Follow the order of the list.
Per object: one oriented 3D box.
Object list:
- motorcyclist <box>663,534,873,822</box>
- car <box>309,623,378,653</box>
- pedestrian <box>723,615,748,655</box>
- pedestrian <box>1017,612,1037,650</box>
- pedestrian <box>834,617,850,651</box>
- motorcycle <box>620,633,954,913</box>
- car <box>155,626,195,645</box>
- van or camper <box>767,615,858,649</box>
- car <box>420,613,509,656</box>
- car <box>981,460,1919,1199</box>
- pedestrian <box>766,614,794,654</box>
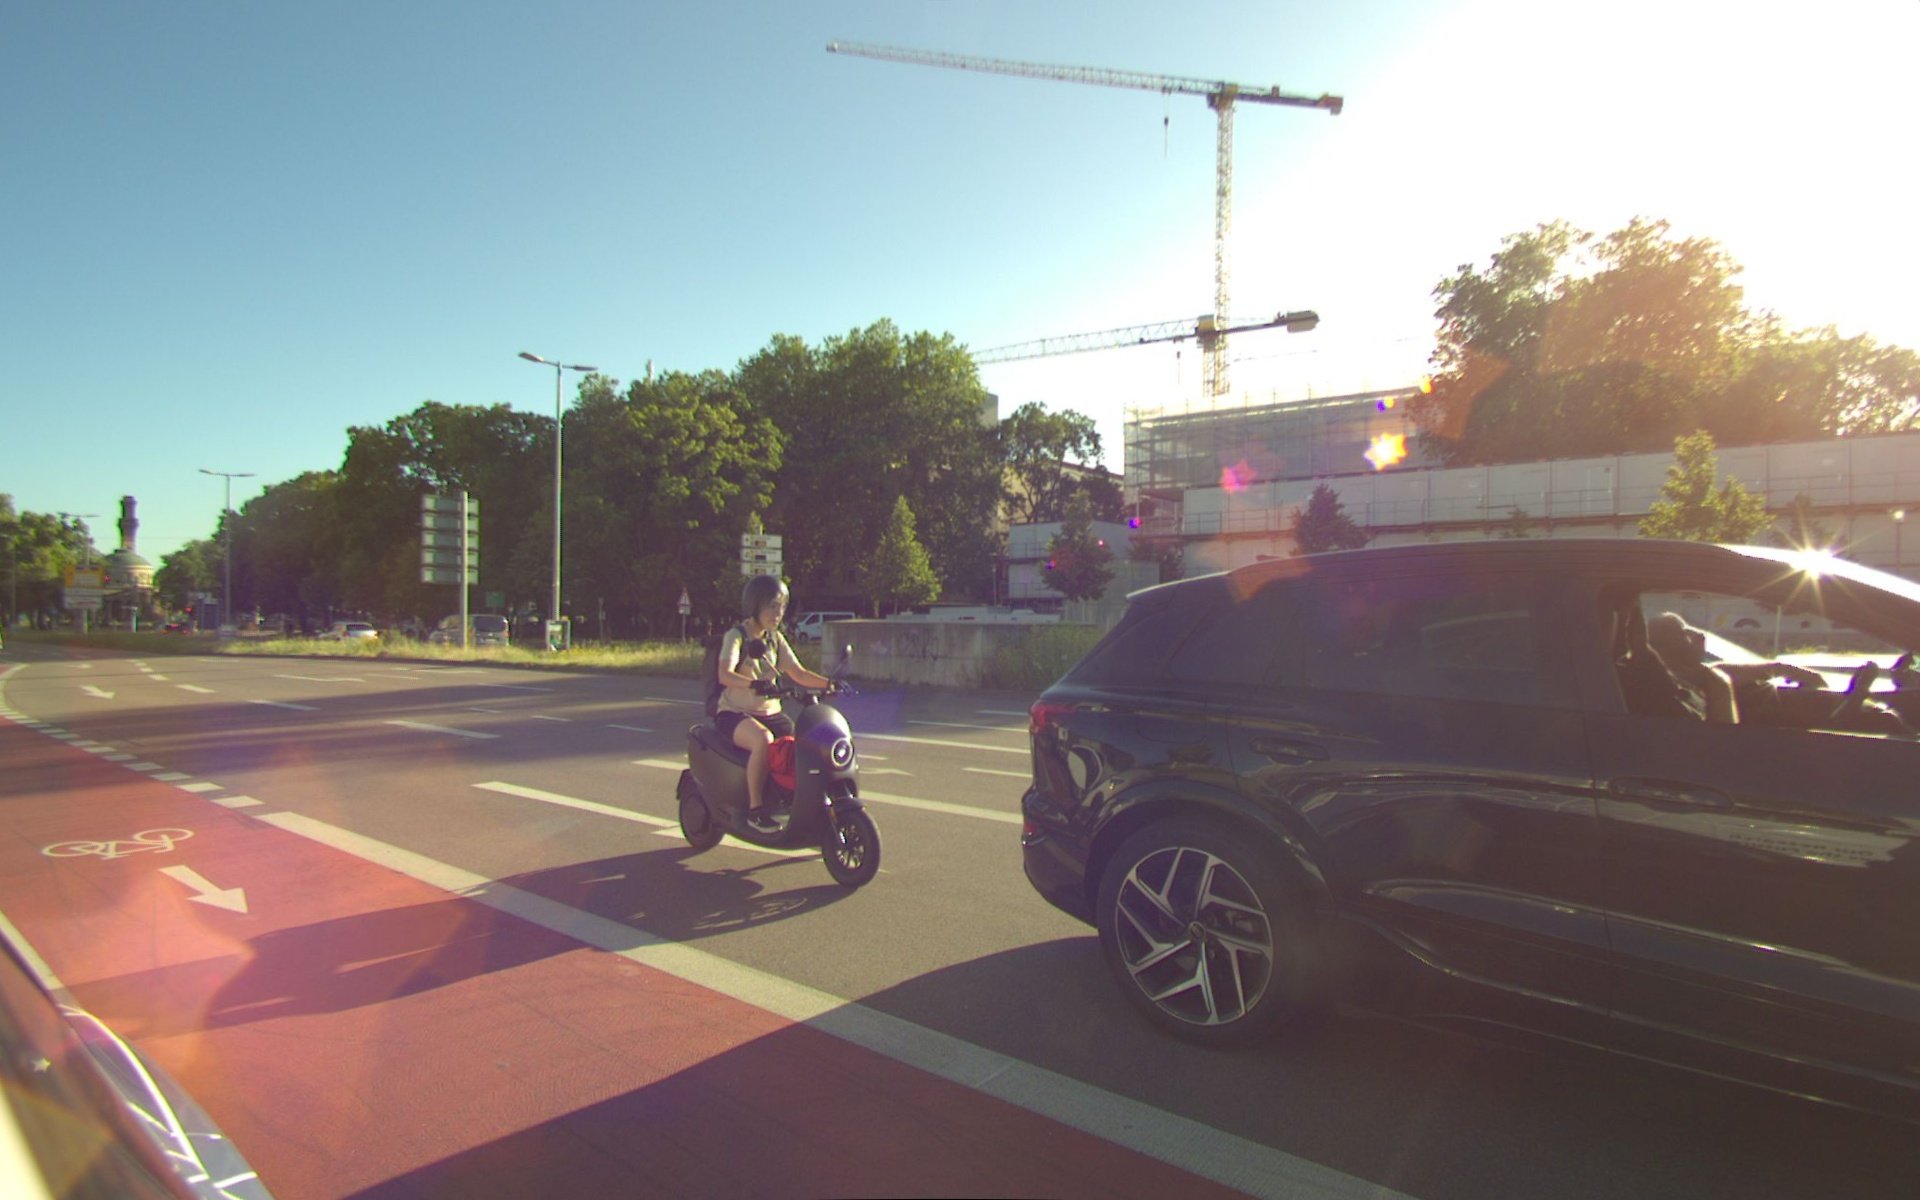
[{"bbox_3d":[-1.095,0.411,5.782,0.877,1.475,0.813,-1,-2,41],"label":"motorcyclist"},{"bbox_3d":[-29.708,1.820,48.737,3.941,1.387,1.705,-1,-2,41],"label":"car"},{"bbox_3d":[-11.434,1.768,51.632,0.942,2.029,0.842,-1,0,-39],"label":"pedestrian"},{"bbox_3d":[2.842,1.306,42.755,0.597,1.614,0.580,-1,0,38],"label":"pedestrian"},{"bbox_3d":[-5.367,1.541,46.042,0.494,1.522,0.492,-1,-2,41],"label":"pedestrian"},{"bbox_3d":[-1.026,0.841,5.703,1.943,1.290,0.817,-1,-2,41],"label":"motorcycle"},{"bbox_3d":[-63.817,2.882,82.234,3.979,1.492,1.857,-1,-2,41],"label":"car"},{"bbox_3d":[-8.965,1.929,61.891,1.951,1.960,5.425,-2,-2,44],"label":"van or camper"},{"bbox_3d":[-23.422,1.619,47.807,4.925,1.937,1.863,-1,-2,39],"label":"car"},{"bbox_3d":[2.557,0.558,3.192,4.660,1.720,2.144,-1,-1,39],"label":"car"},{"bbox_3d":[-9.044,1.681,50.759,0.815,1.978,1.111,-1,0,41],"label":"pedestrian"}]
